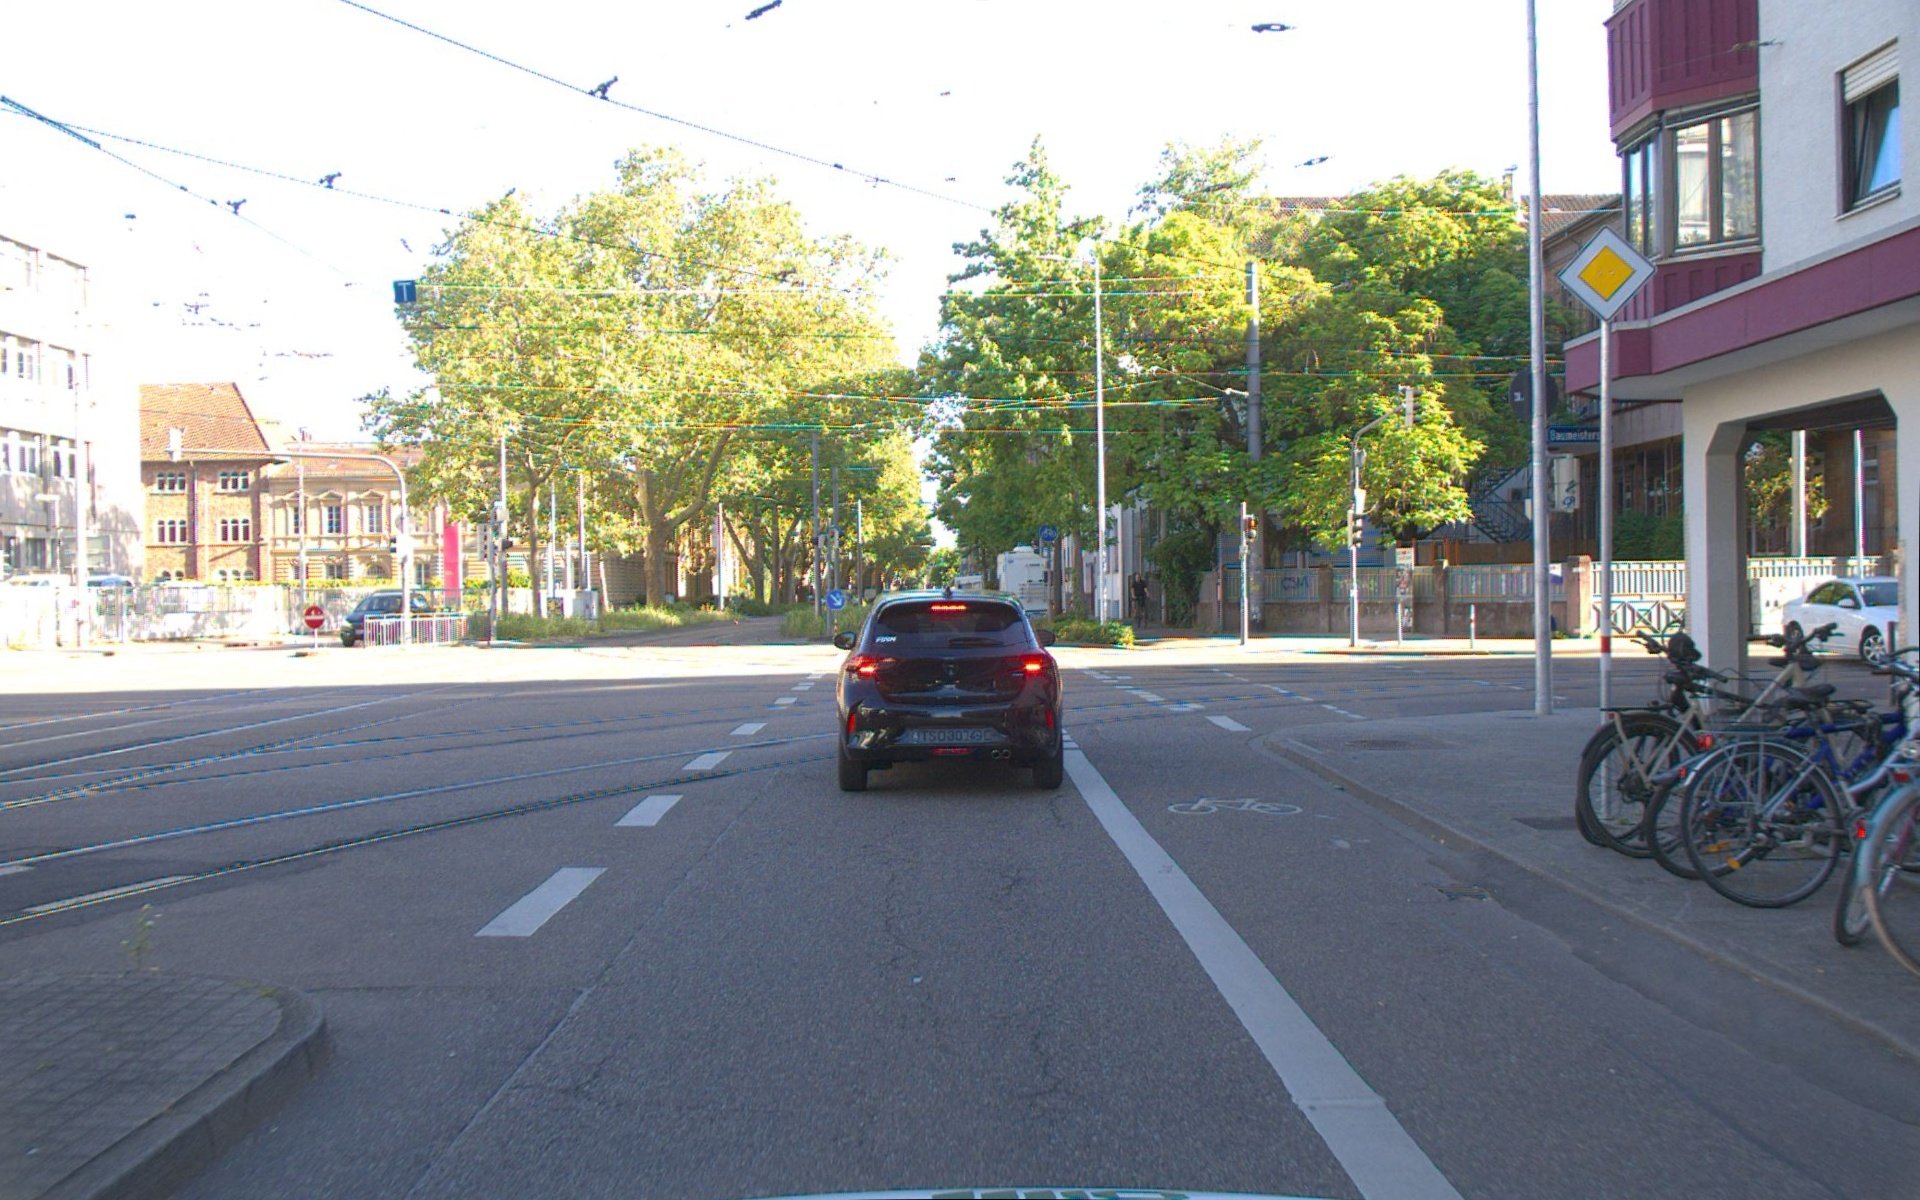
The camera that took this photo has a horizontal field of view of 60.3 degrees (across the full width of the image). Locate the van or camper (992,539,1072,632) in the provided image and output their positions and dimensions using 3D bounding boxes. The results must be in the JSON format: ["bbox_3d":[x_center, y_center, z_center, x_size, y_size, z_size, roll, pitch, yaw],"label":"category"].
[{"bbox_3d":[2.660,-0.560,62.992,2.328,3.179,7.549,-4,0,-1],"label":"van or camper"}]

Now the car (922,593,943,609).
[{"bbox_3d":[-2.545,0.067,153.055,1.866,1.450,4.216,-1,1,0],"label":"car"}]

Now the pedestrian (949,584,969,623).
[{"bbox_3d":[-0.069,0.179,88.709,1.015,2.059,1.212,-1,0,-2],"label":"pedestrian"}]

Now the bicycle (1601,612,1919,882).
[{"bbox_3d":[3.966,0.686,7.903,1.588,1.220,0.496,-1,0,4],"label":"bicycle"}]

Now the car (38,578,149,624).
[{"bbox_3d":[-35.278,0.014,67.495,1.951,1.733,4.380,-1,1,4],"label":"car"}]

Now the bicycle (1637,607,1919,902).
[{"bbox_3d":[4.014,0.662,7.332,1.793,1.242,0.496,-1,0,3],"label":"bicycle"}]

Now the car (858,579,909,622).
[{"bbox_3d":[-3.097,-0.010,67.493,1.953,1.656,4.469,1,0,-1],"label":"car"}]

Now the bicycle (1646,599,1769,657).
[{"bbox_3d":[15.693,0.569,34.737,2.283,1.138,0.843,-1,1,-12],"label":"bicycle"}]

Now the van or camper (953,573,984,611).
[{"bbox_3d":[0.695,-0.678,136.455,2.435,3.046,5.434,1,0,0],"label":"van or camper"}]

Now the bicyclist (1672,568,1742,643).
[{"bbox_3d":[15.672,0.106,34.732,0.909,1.535,1.009,-1,1,-12],"label":"bicyclist"}]

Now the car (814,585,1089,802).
[{"bbox_3d":[-0.042,0.623,13.468,1.866,1.450,4.216,-1,1,0],"label":"car"}]

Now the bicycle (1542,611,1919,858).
[{"bbox_3d":[4.034,0.688,8.647,1.764,1.220,0.546,-1,-1,4],"label":"bicycle"}]

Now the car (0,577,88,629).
[{"bbox_3d":[-38.061,0.111,67.645,1.951,2.049,4.727,-1,1,4],"label":"car"}]

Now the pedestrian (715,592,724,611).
[{"bbox_3d":[-21.366,0.112,146.916,0.645,1.650,0.615,1,0,-2],"label":"pedestrian"}]

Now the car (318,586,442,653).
[{"bbox_3d":[-18.249,0.573,52.296,1.951,1.981,4.427,-1,1,6],"label":"car"}]

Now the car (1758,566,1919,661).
[{"bbox_3d":[15.770,0.172,28.429,1.811,1.481,4.901,-1,1,1],"label":"car"}]

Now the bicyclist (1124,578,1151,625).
[{"bbox_3d":[5.952,0.044,55.375,0.735,1.536,0.701,-1,0,-8],"label":"bicyclist"}]

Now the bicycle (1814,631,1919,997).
[{"bbox_3d":[4.102,0.696,5.827,1.901,1.190,0.572,-1,0,-4],"label":"bicycle"}]

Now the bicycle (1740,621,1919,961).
[{"bbox_3d":[4.145,0.691,6.457,1.938,1.220,0.590,-1,0,-5],"label":"bicycle"}]

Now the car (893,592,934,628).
[{"bbox_3d":[-2.141,0.448,77.371,1.754,1.536,3.874,-3,0,0],"label":"car"}]

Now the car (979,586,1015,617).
[{"bbox_3d":[1.991,0.072,89.856,1.754,1.536,3.874,-3,0,0],"label":"car"}]

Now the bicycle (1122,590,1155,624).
[{"bbox_3d":[5.969,0.219,55.388,0.627,1.089,1.947,-1,0,-8],"label":"bicycle"}]
